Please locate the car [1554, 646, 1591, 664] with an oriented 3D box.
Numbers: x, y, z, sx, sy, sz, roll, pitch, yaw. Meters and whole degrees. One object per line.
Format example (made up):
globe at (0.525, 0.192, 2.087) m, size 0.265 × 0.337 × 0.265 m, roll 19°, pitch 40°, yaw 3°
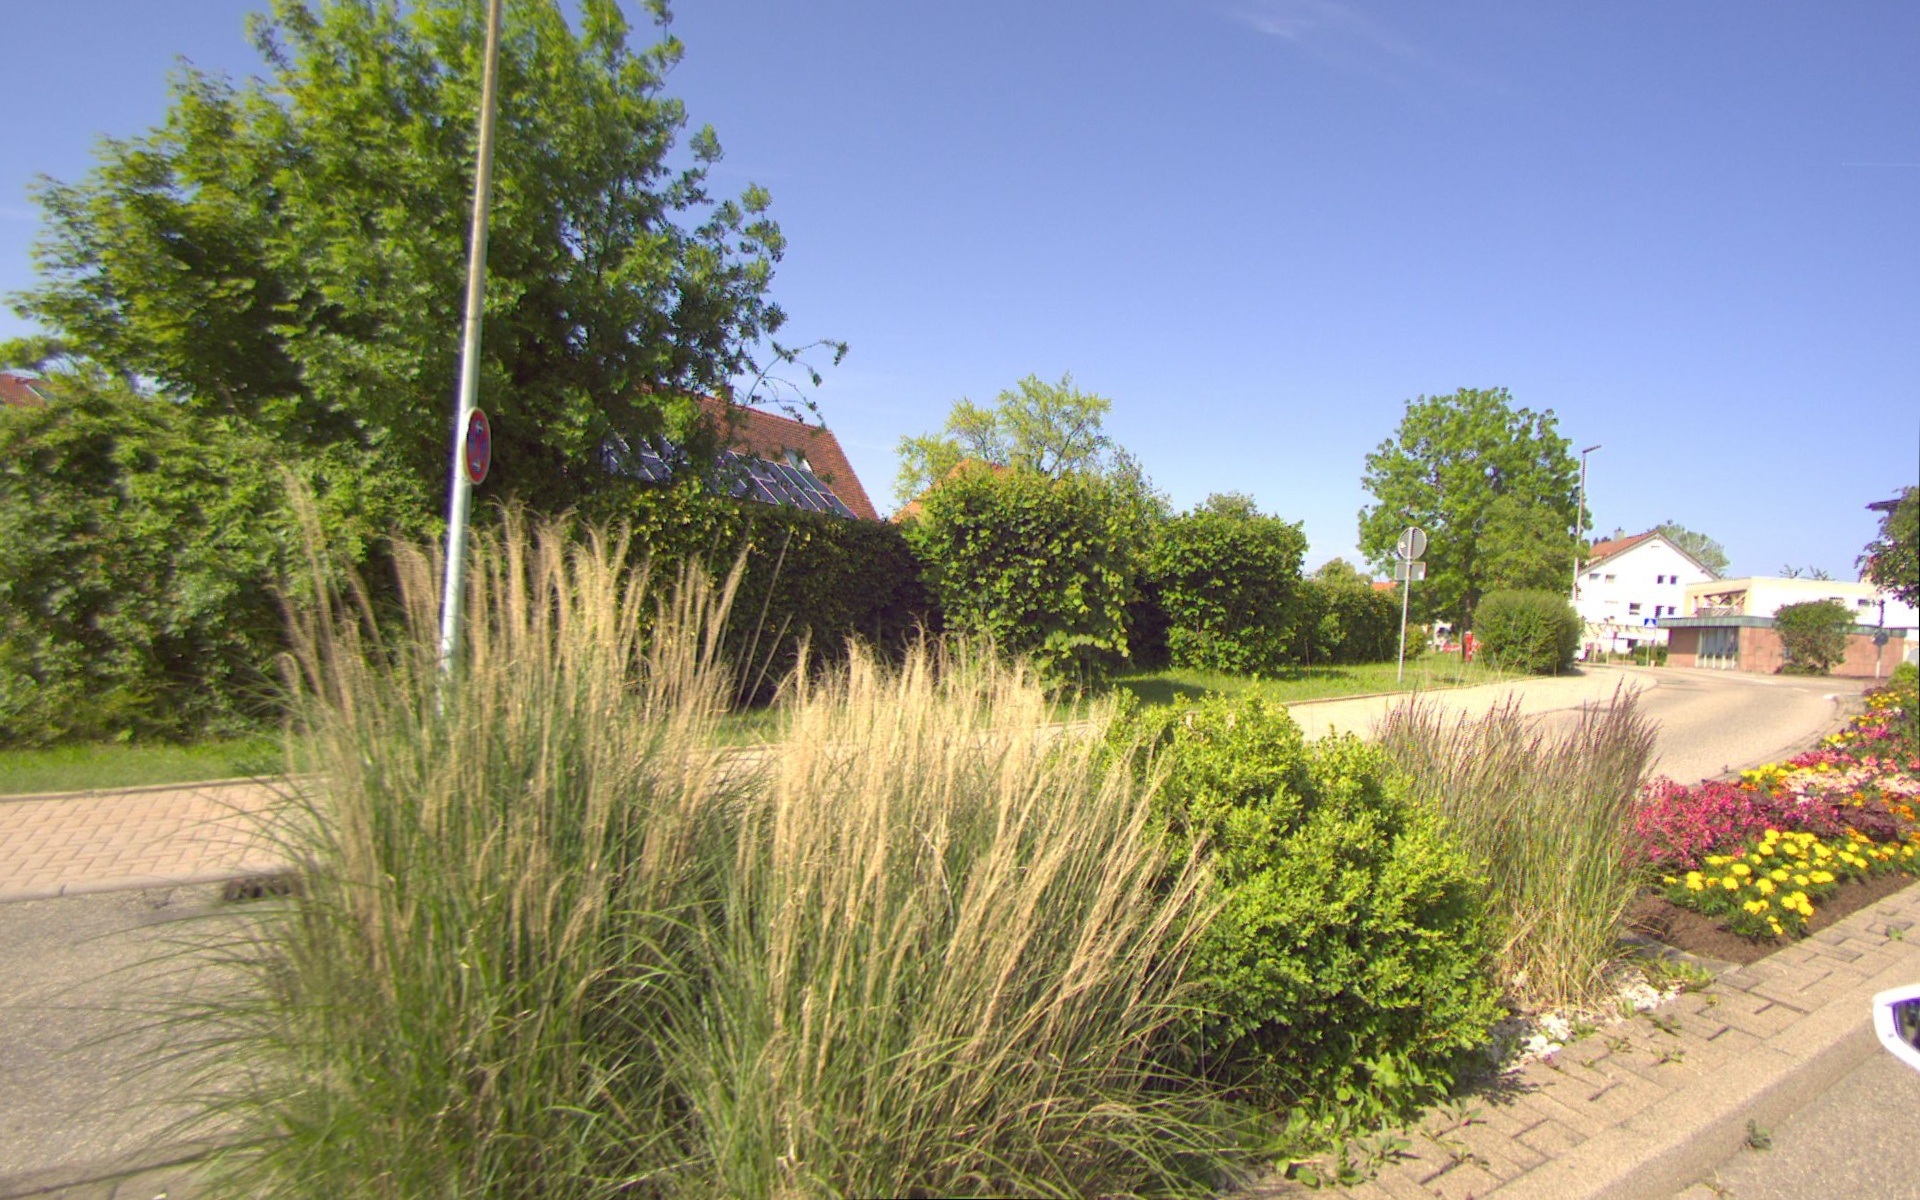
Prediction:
car at (52.032, 4.638, 85.383) m, size 1.730 × 1.442 × 3.636 m, roll 1°, pitch -2°, yaw 15°
